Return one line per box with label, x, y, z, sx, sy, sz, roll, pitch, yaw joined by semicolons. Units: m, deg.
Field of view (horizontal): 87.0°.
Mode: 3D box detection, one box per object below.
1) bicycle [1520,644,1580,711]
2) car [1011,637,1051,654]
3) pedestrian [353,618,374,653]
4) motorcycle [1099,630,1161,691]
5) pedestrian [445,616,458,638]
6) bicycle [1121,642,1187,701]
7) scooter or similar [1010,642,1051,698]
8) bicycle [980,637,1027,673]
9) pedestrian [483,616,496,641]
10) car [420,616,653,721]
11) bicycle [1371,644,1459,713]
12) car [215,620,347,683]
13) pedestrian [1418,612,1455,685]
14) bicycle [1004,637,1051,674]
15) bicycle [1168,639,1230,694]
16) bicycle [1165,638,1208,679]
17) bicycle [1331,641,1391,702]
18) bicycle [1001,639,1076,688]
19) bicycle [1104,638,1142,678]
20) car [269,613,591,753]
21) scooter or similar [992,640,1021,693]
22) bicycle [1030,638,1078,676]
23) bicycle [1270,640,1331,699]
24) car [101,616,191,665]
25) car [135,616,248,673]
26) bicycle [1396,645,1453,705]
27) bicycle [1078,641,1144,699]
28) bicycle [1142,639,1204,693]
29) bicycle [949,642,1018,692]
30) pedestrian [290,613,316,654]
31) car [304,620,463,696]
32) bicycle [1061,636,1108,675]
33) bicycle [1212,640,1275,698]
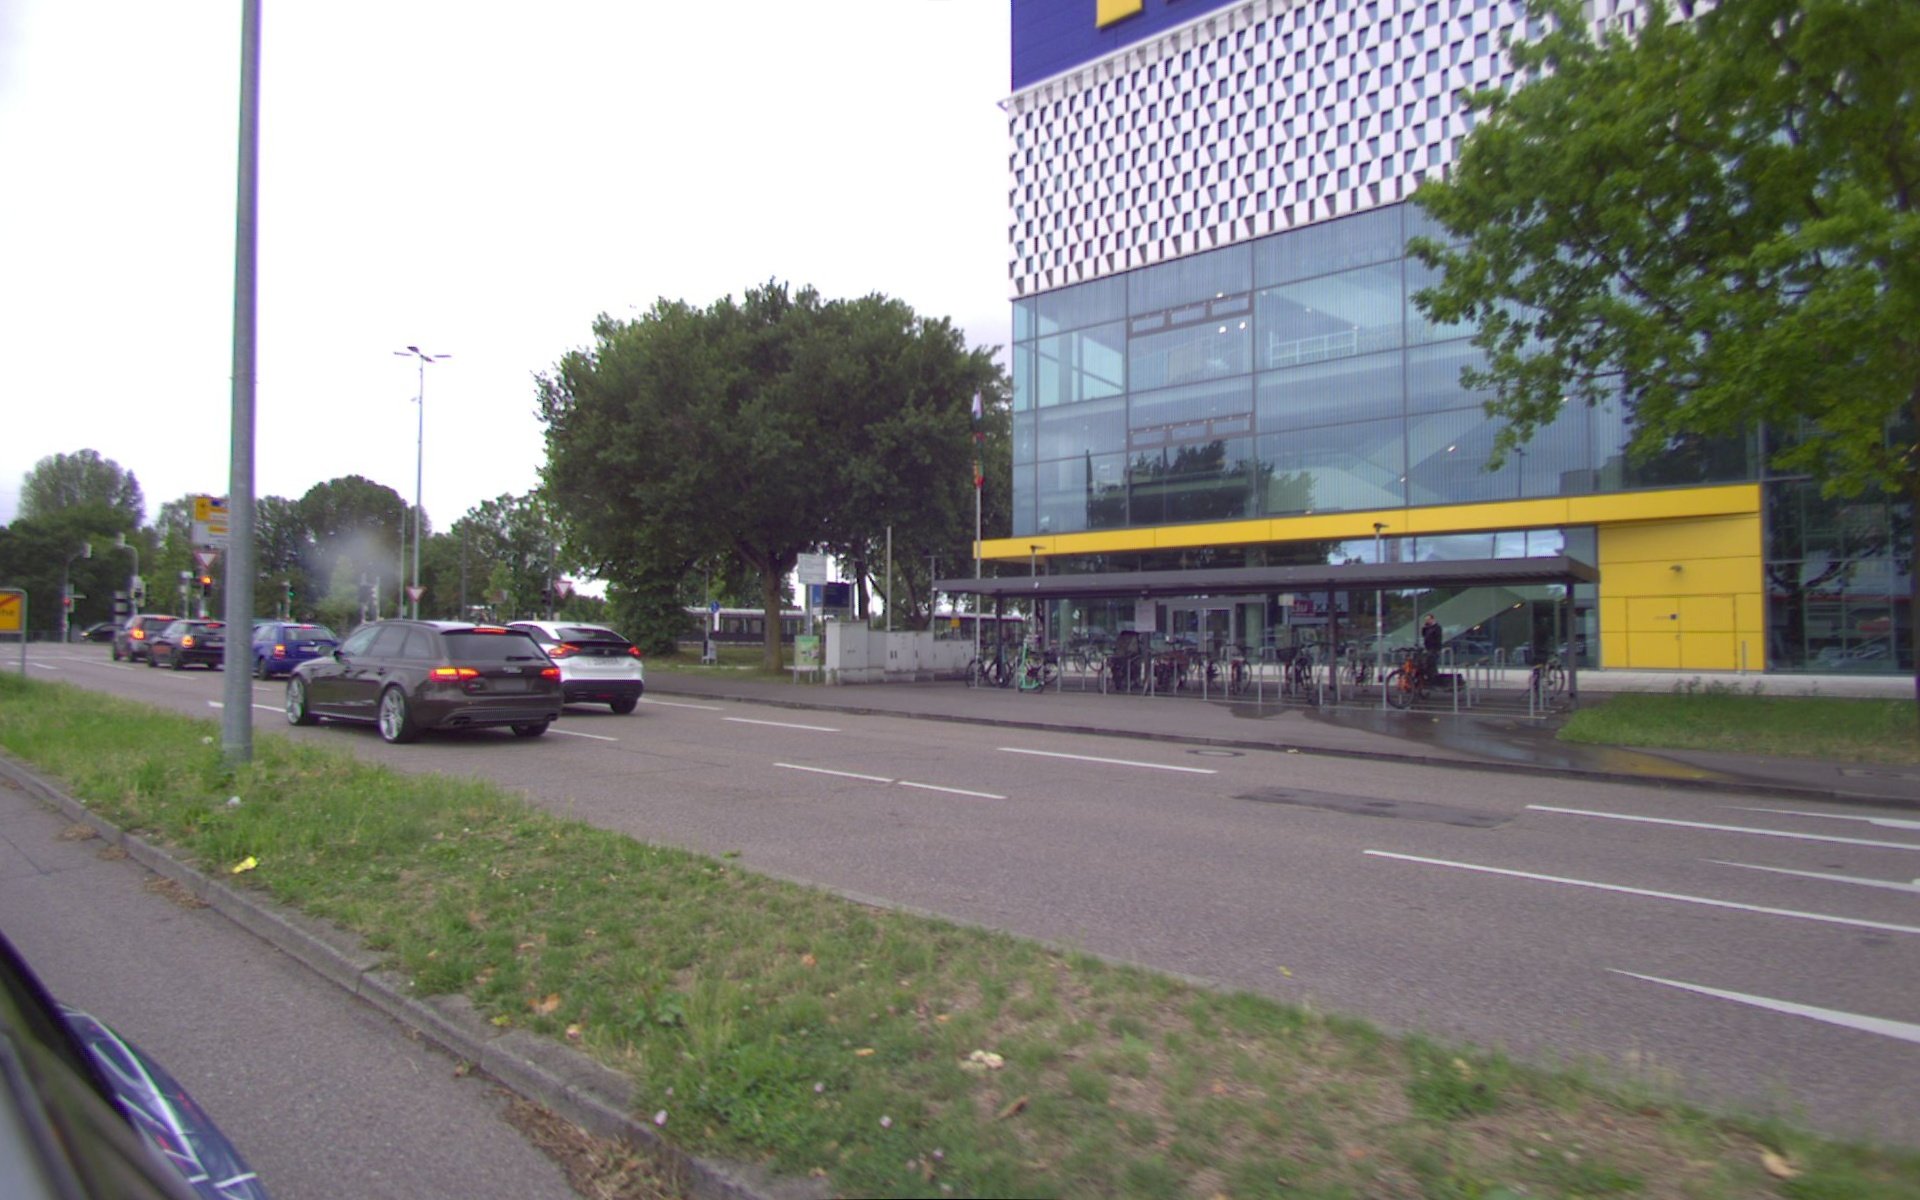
bicycle;11.271;1.442;19.319;0.593;1.131;1.994;-1;-1;41
car;7.150;4.527;101.199;1.890;1.598;4.355;0;-2;37
pedestrian;-29.338;1.755;49.798;0.766;1.725;0.666;-1;-2;43
motorcycle;4.236;1.472;25.116;0.796;1.366;2.477;-1;0;27
pedestrian;-36.290;1.943;72.273;0.711;1.572;0.624;-4;-4;41
bicycle;4.277;1.544;22.220;0.593;1.165;1.875;-1;-1;39
scooter or similar;1.583;1.566;22.915;0.417;1.157;1.353;-1;0;-19
bicycle;1.521;1.894;35.183;0.593;1.165;1.996;-1;-1;38
pedestrian;-34.770;2.111;74.764;0.788;1.755;0.578;-4;-4;42
car;-7.280;1.099;17.225;4.179;1.530;1.911;0;-3;40
bicycle;8.641;1.463;19.168;1.989;1.165;0.595;-1;-1;-36
car;-17.321;1.288;25.761;4.139;1.455;1.586;0;-4;39
pedestrian;11.626;1.175;24.724;0.673;1.759;0.803;-1;-2;17
bicycle;2.303;1.860;34.396;0.593;1.165;1.996;-1;-1;38
bicycle;5.611;1.537;23.693;0.593;1.165;1.995;-1;-1;39
bicycle;6.872;1.751;30.646;0.592;1.165;1.999;-1;-1;33
bicycle;8.572;1.496;21.585;0.593;1.165;1.995;-1;-1;39
bicycle;2.066;1.633;26.443;1.988;1.165;0.595;-1;-1;-34
bicycle;5.156;1.802;31.921;0.590;1.165;2.004;-1;-1;26
car;-6.739;0.939;12.699;4.425;1.447;1.865;0;-3;38
scooter or similar;1.119;1.589;24.448;0.353;1.194;1.296;-1;-1;-13
bicycle;3.145;1.862;33.680;0.593;1.165;1.996;-1;-1;38
bicycle;7.563;1.502;22.405;0.593;1.165;1.995;-1;-1;39
car;-26.696;1.324;33.161;3.205;1.514;1.587;-1;-3;38
car;-22.457;1.273;29.509;4.061;1.514;1.645;0;-4;39
bicycle;9.429;1.498;20.514;0.593;1.090;1.791;-1;-1;39
bicycle;3.429;1.559;22.887;0.593;1.165;1.875;-1;-1;39
bicycle;5.111;1.546;24.199;0.593;1.165;1.995;-1;-1;39
bicycle;0.595;1.620;24.967;0.593;1.165;1.995;-1;-2;39
pedestrian;-29.509;1.516;45.438;0.686;1.778;0.656;3;-2;37
car;-12.521;1.226;21.905;4.033;1.509;1.586;-1;-5;39
bicycle;4.055;1.798;32.902;0.593;1.165;1.996;-1;-1;38
bicycle;6.360;1.526;22.677;0.593;1.165;1.995;-1;-1;39
